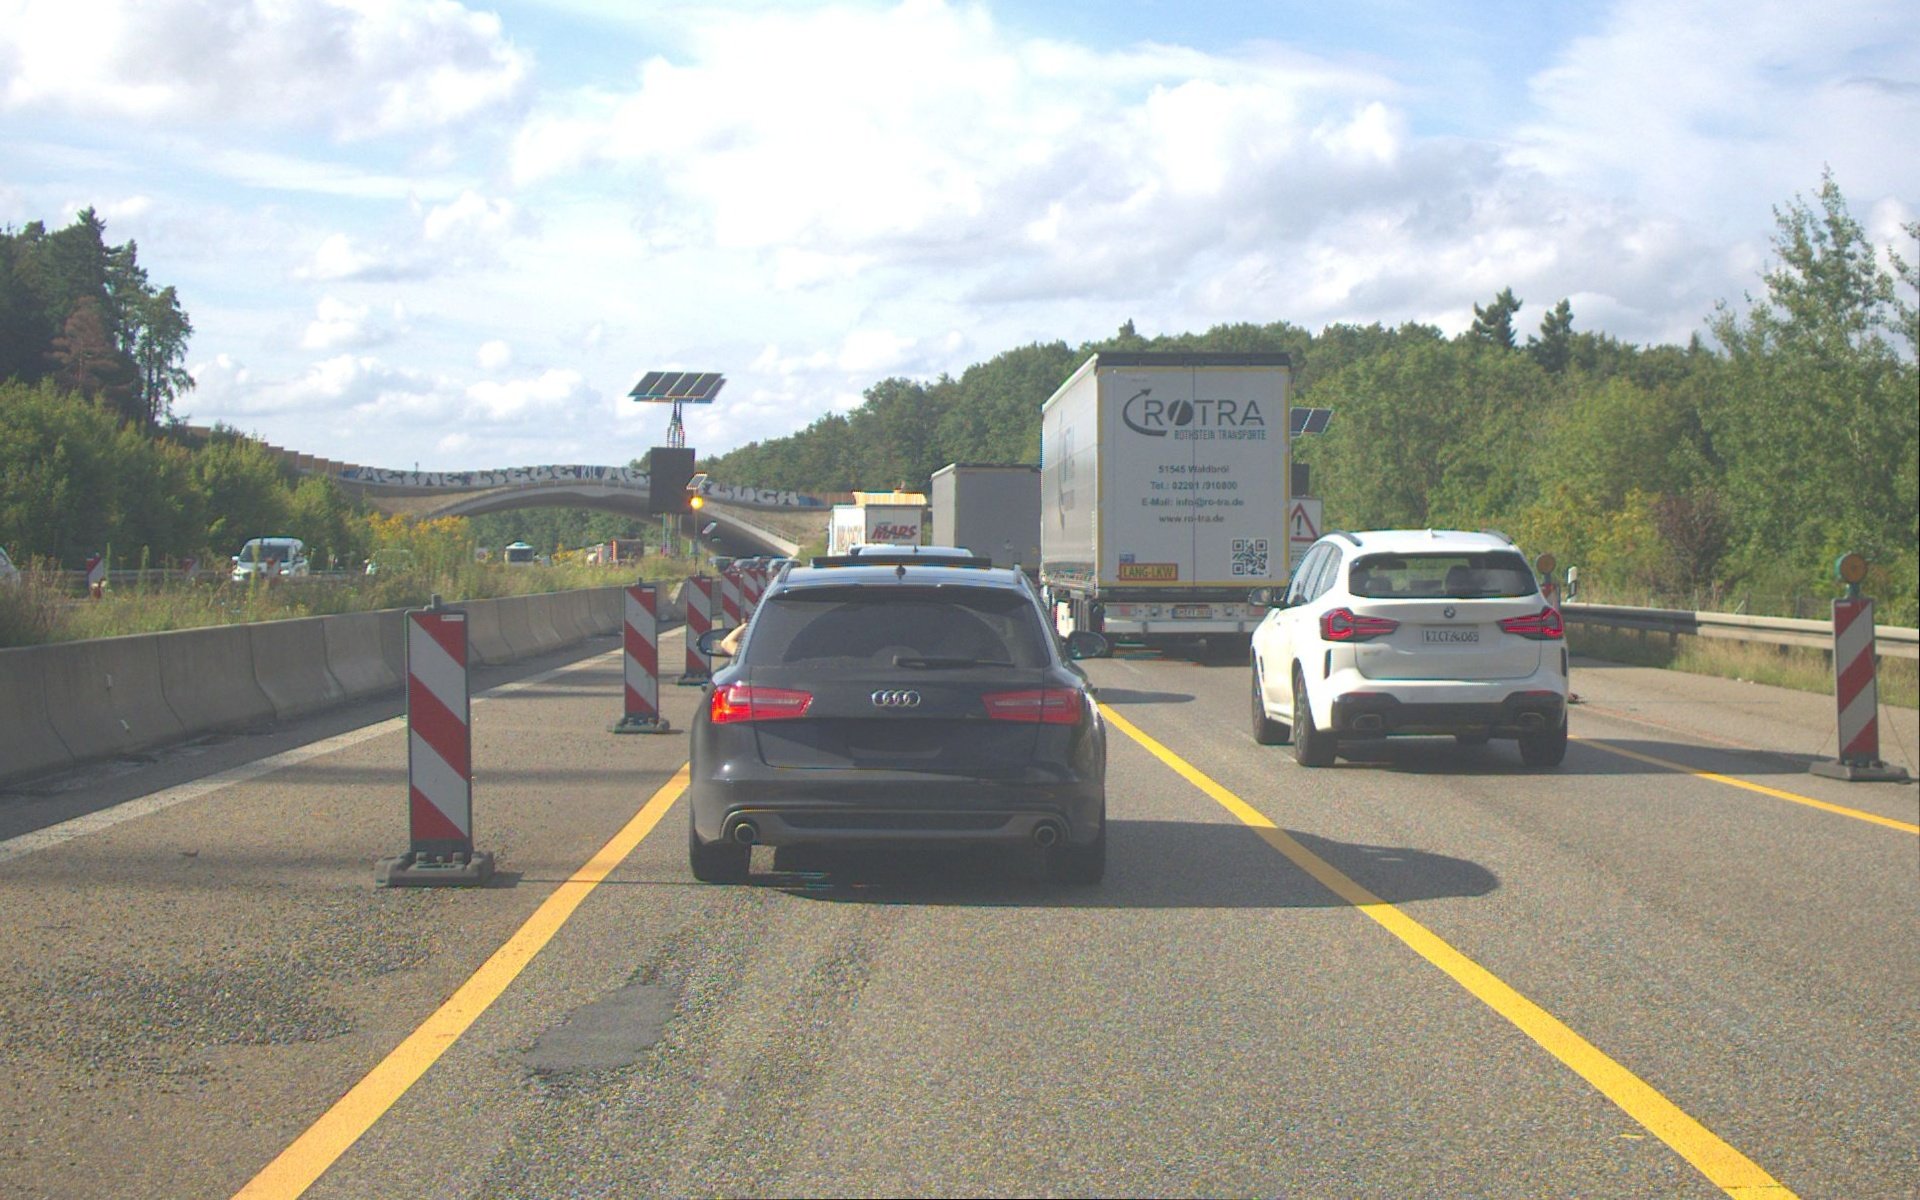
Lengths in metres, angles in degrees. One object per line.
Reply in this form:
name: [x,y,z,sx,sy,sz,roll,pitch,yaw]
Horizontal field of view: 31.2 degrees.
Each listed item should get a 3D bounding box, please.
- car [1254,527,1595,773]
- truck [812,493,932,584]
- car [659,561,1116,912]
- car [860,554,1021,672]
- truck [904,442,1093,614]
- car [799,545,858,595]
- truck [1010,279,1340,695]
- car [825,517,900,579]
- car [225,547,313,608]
car: [3.314,0.322,25.250,1.890,1.638,4.018,1,1,-1]
truck: [-4.073,-2.768,156.431,3.653,3.915,11.070,1,1,-11]
car: [-0.326,0.551,16.351,1.890,1.441,4.000,1,1,-1]
car: [-0.298,0.140,44.824,1.890,1.441,4.000,1,1,-3]
truck: [0.952,-2.007,98.444,4.318,4.584,11.127,1,1,-5]
car: [-5.487,-1.241,142.906,1.993,2.007,4.001,1,1,-8]
truck: [2.904,-1.540,52.596,3.677,5.335,16.202,1,1,-1]
car: [-2.701,-1.430,94.431,1.890,1.638,4.018,1,1,-4]
car: [-20.644,-0.677,102.881,1.778,1.780,4.365,1,1,-1]
